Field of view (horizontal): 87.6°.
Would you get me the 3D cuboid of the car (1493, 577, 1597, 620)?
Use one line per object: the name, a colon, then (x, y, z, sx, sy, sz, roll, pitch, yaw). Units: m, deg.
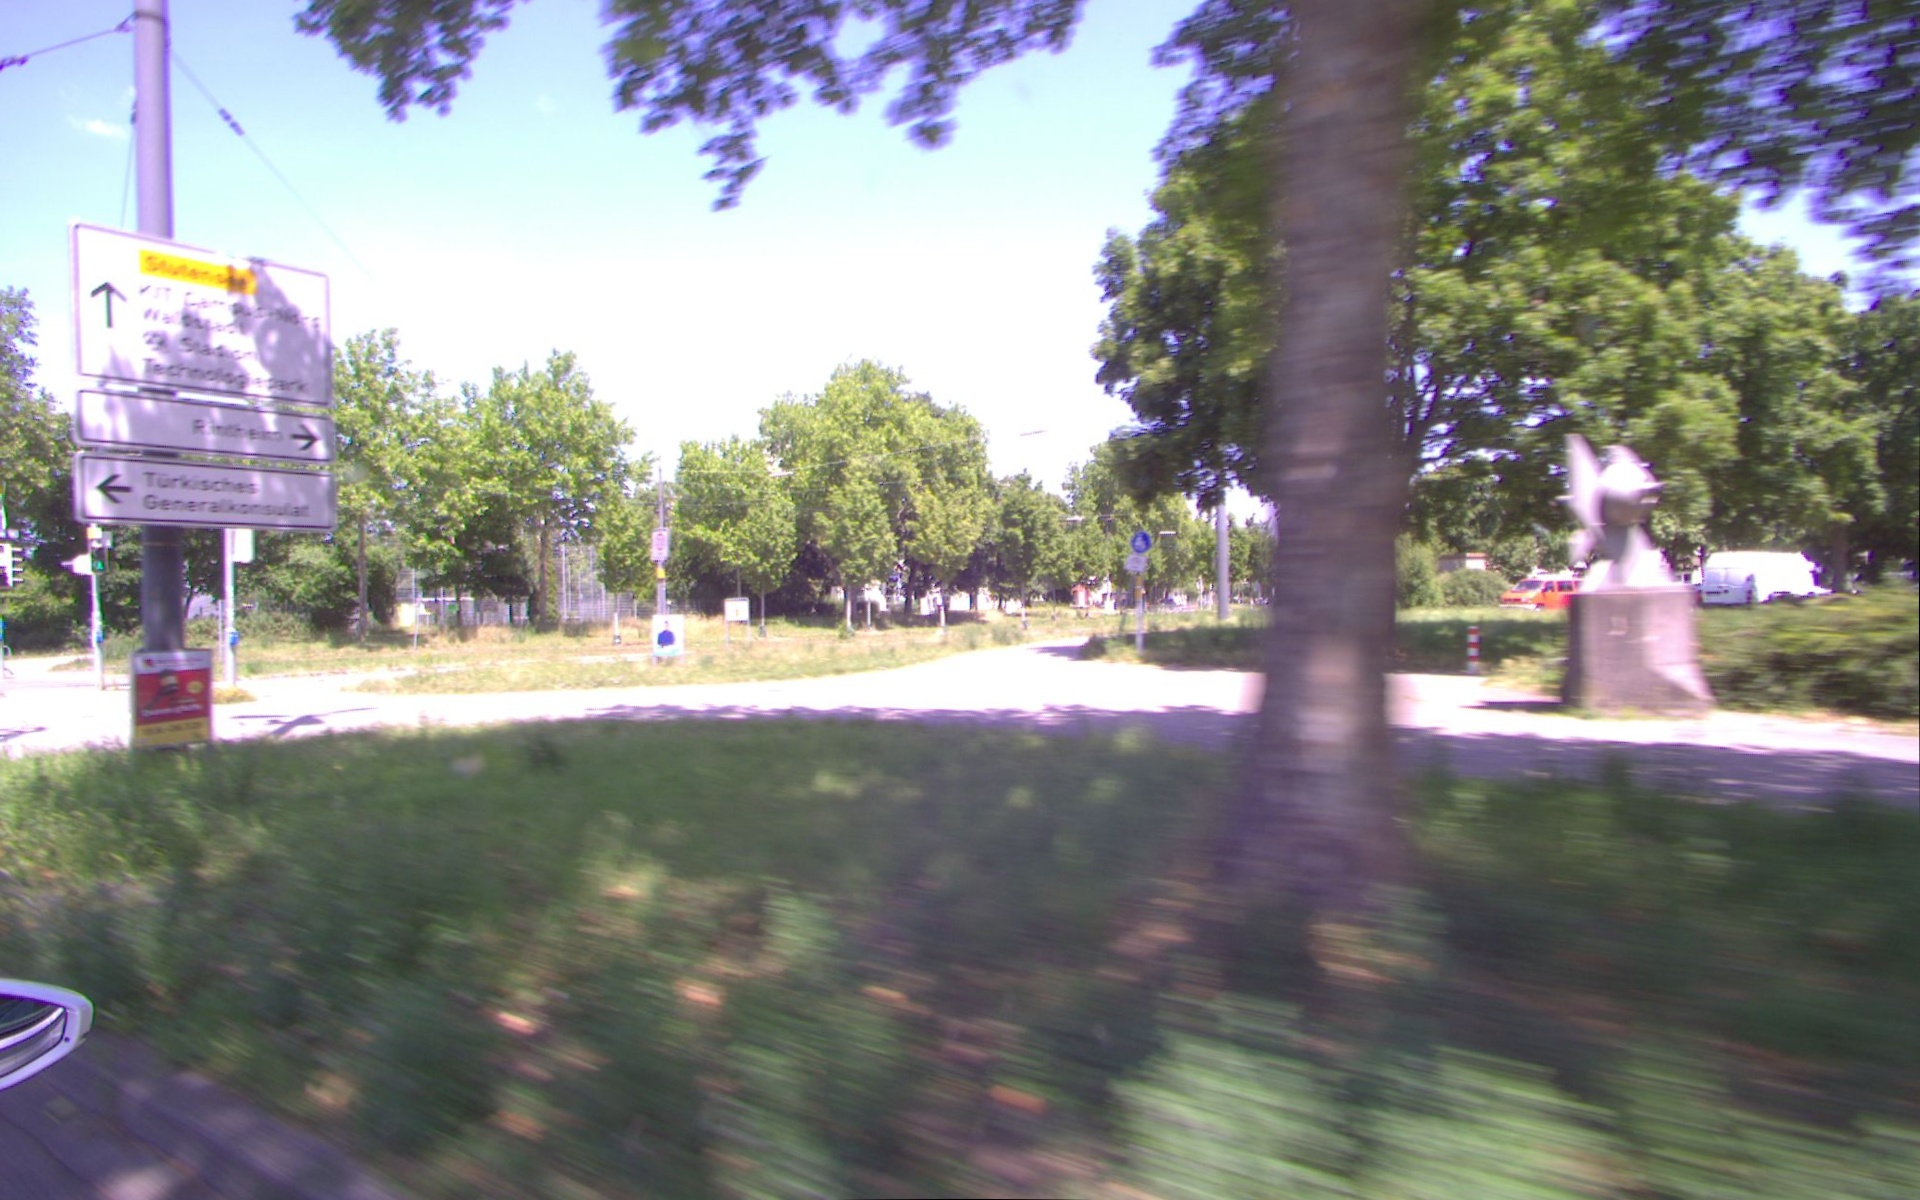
car: (29.003, -0.091, 49.642, 4.585, 2.029, 2.068, -1, 0, -21)

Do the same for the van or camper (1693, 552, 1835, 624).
van or camper: (32.527, -0.482, 40.539, 5.042, 2.787, 2.198, -1, 0, -20)

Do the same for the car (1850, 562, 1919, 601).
car: (51.405, -0.981, 54.134, 2.211, 2.040, 4.406, -1, 0, -25)

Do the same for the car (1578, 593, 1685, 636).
car: (29.332, 0.612, 43.748, 4.002, 1.741, 1.951, -1, 0, -21)
